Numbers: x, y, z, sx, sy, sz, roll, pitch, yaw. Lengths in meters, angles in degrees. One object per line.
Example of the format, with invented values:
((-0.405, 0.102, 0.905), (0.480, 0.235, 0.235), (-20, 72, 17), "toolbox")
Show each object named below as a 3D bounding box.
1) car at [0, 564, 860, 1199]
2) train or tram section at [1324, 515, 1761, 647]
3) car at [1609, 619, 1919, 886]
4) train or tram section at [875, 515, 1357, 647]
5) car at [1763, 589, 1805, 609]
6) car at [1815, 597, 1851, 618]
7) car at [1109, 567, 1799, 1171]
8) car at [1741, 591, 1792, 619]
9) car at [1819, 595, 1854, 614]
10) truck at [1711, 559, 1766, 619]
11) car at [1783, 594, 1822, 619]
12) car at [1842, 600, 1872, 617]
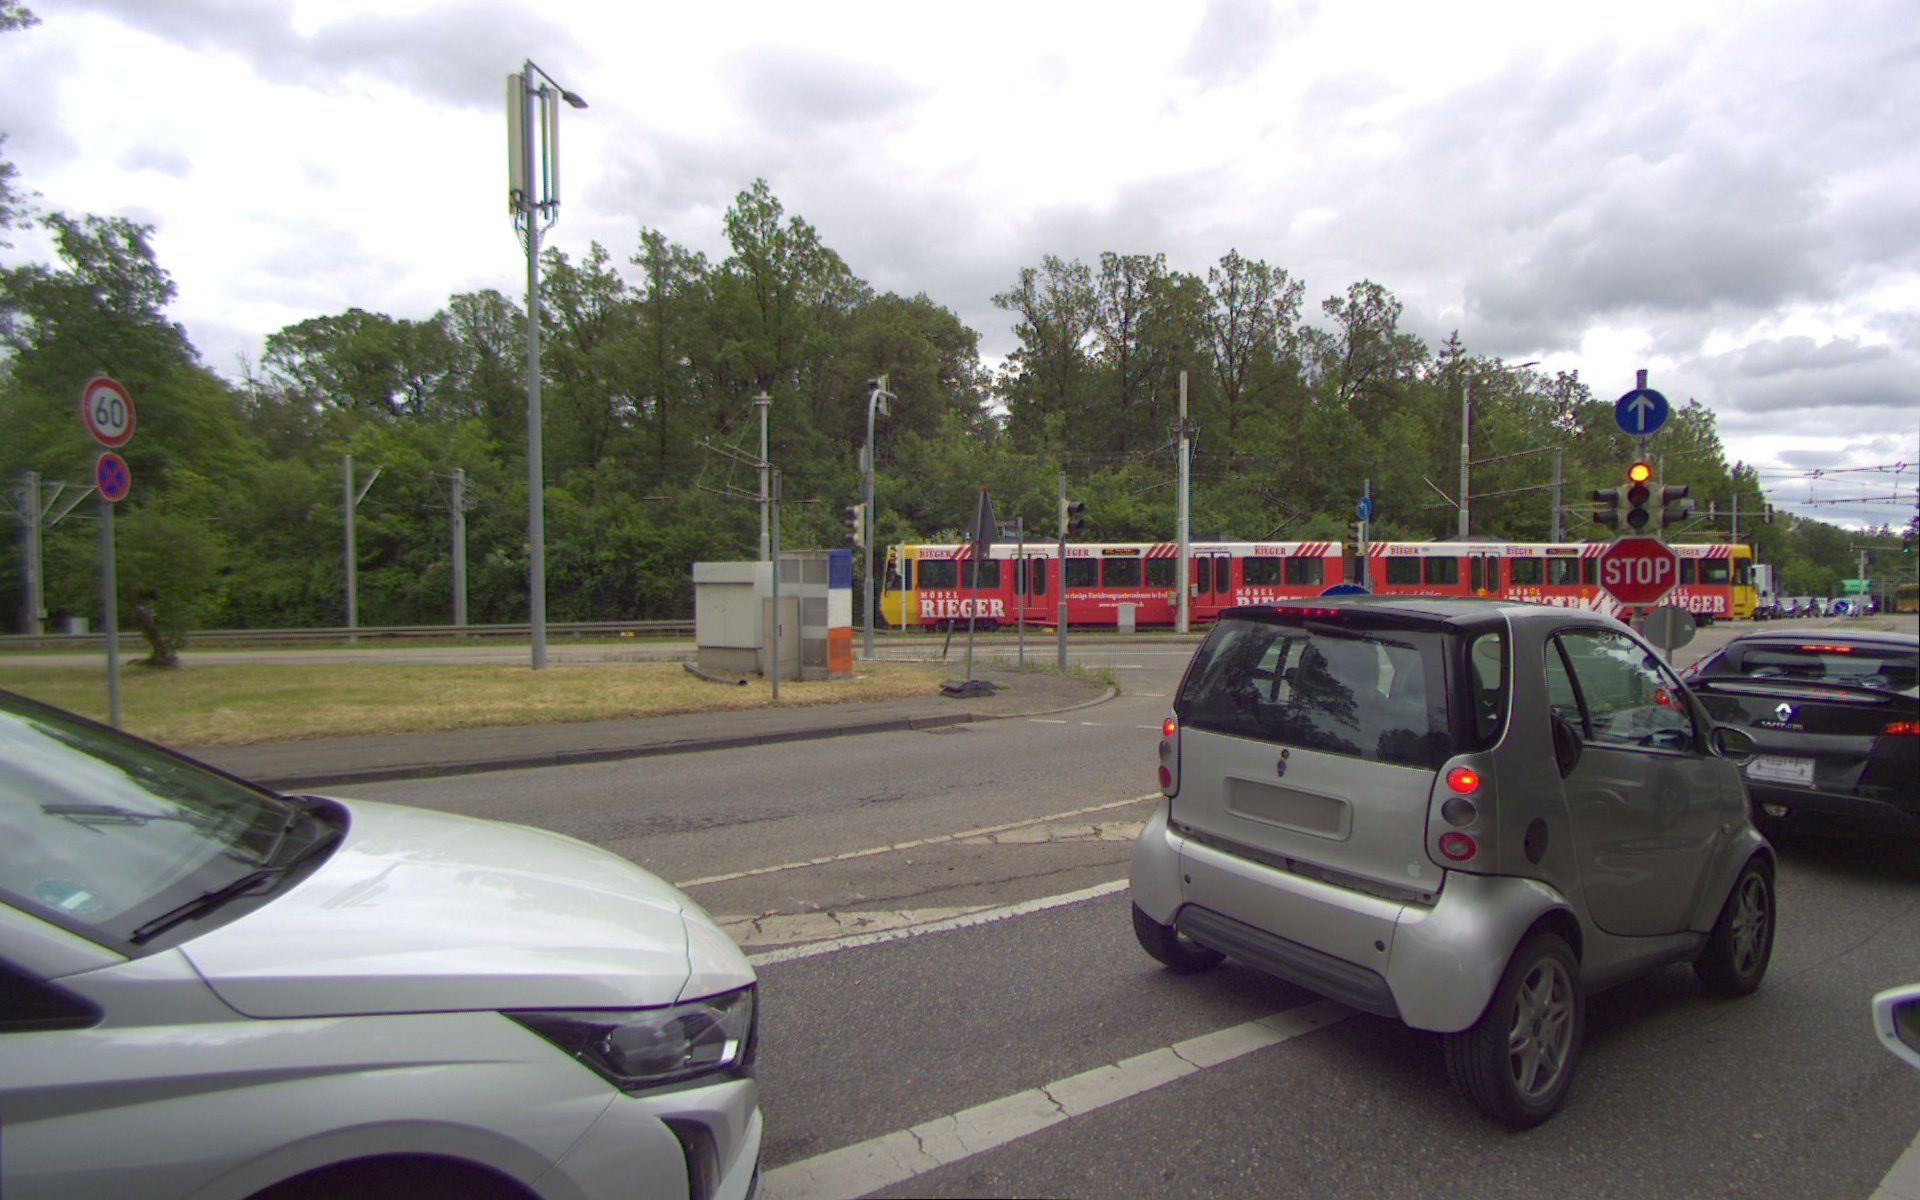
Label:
((-2.327, 0.707, 1.611), (4.022, 1.499, 1.643), (0, 0, -28), "car")
((24.349, -0.659, 41.906), (18.215, 4.712, 2.951), (2, 0, -11), "train or tram section")
((6.055, 0.843, 6.930), (3.448, 1.380, 1.759), (0, 0, -41), "car")
((5.995, -0.712, 39.909), (18.362, 4.477, 2.965), (2, 0, -1), "train or tram section")
((59.634, -0.062, 72.642), (1.942, 1.380, 4.660), (1, 1, 45), "car")
((70.927, 0.608, 81.627), (1.942, 1.628, 4.283), (1, 1, 45), "car")
((2.075, 0.723, 4.066), (2.701, 1.607, 1.447), (0, 0, -36), "car")
((53.171, 0.305, 66.195), (4.812, 1.773, 1.943), (0, 1, -43), "car")
((74.868, 0.360, 85.787), (1.942, 1.562, 4.368), (1, 1, 45), "car")
((45.608, -0.584, 58.780), (2.419, 3.267, 7.124), (0, 0, 39), "truck")
((65.281, 0.479, 77.832), (1.942, 1.869, 4.660), (1, 1, 45), "car")
((84.696, 0.808, 94.803), (1.942, 1.561, 4.283), (1, 1, 45), "car")
